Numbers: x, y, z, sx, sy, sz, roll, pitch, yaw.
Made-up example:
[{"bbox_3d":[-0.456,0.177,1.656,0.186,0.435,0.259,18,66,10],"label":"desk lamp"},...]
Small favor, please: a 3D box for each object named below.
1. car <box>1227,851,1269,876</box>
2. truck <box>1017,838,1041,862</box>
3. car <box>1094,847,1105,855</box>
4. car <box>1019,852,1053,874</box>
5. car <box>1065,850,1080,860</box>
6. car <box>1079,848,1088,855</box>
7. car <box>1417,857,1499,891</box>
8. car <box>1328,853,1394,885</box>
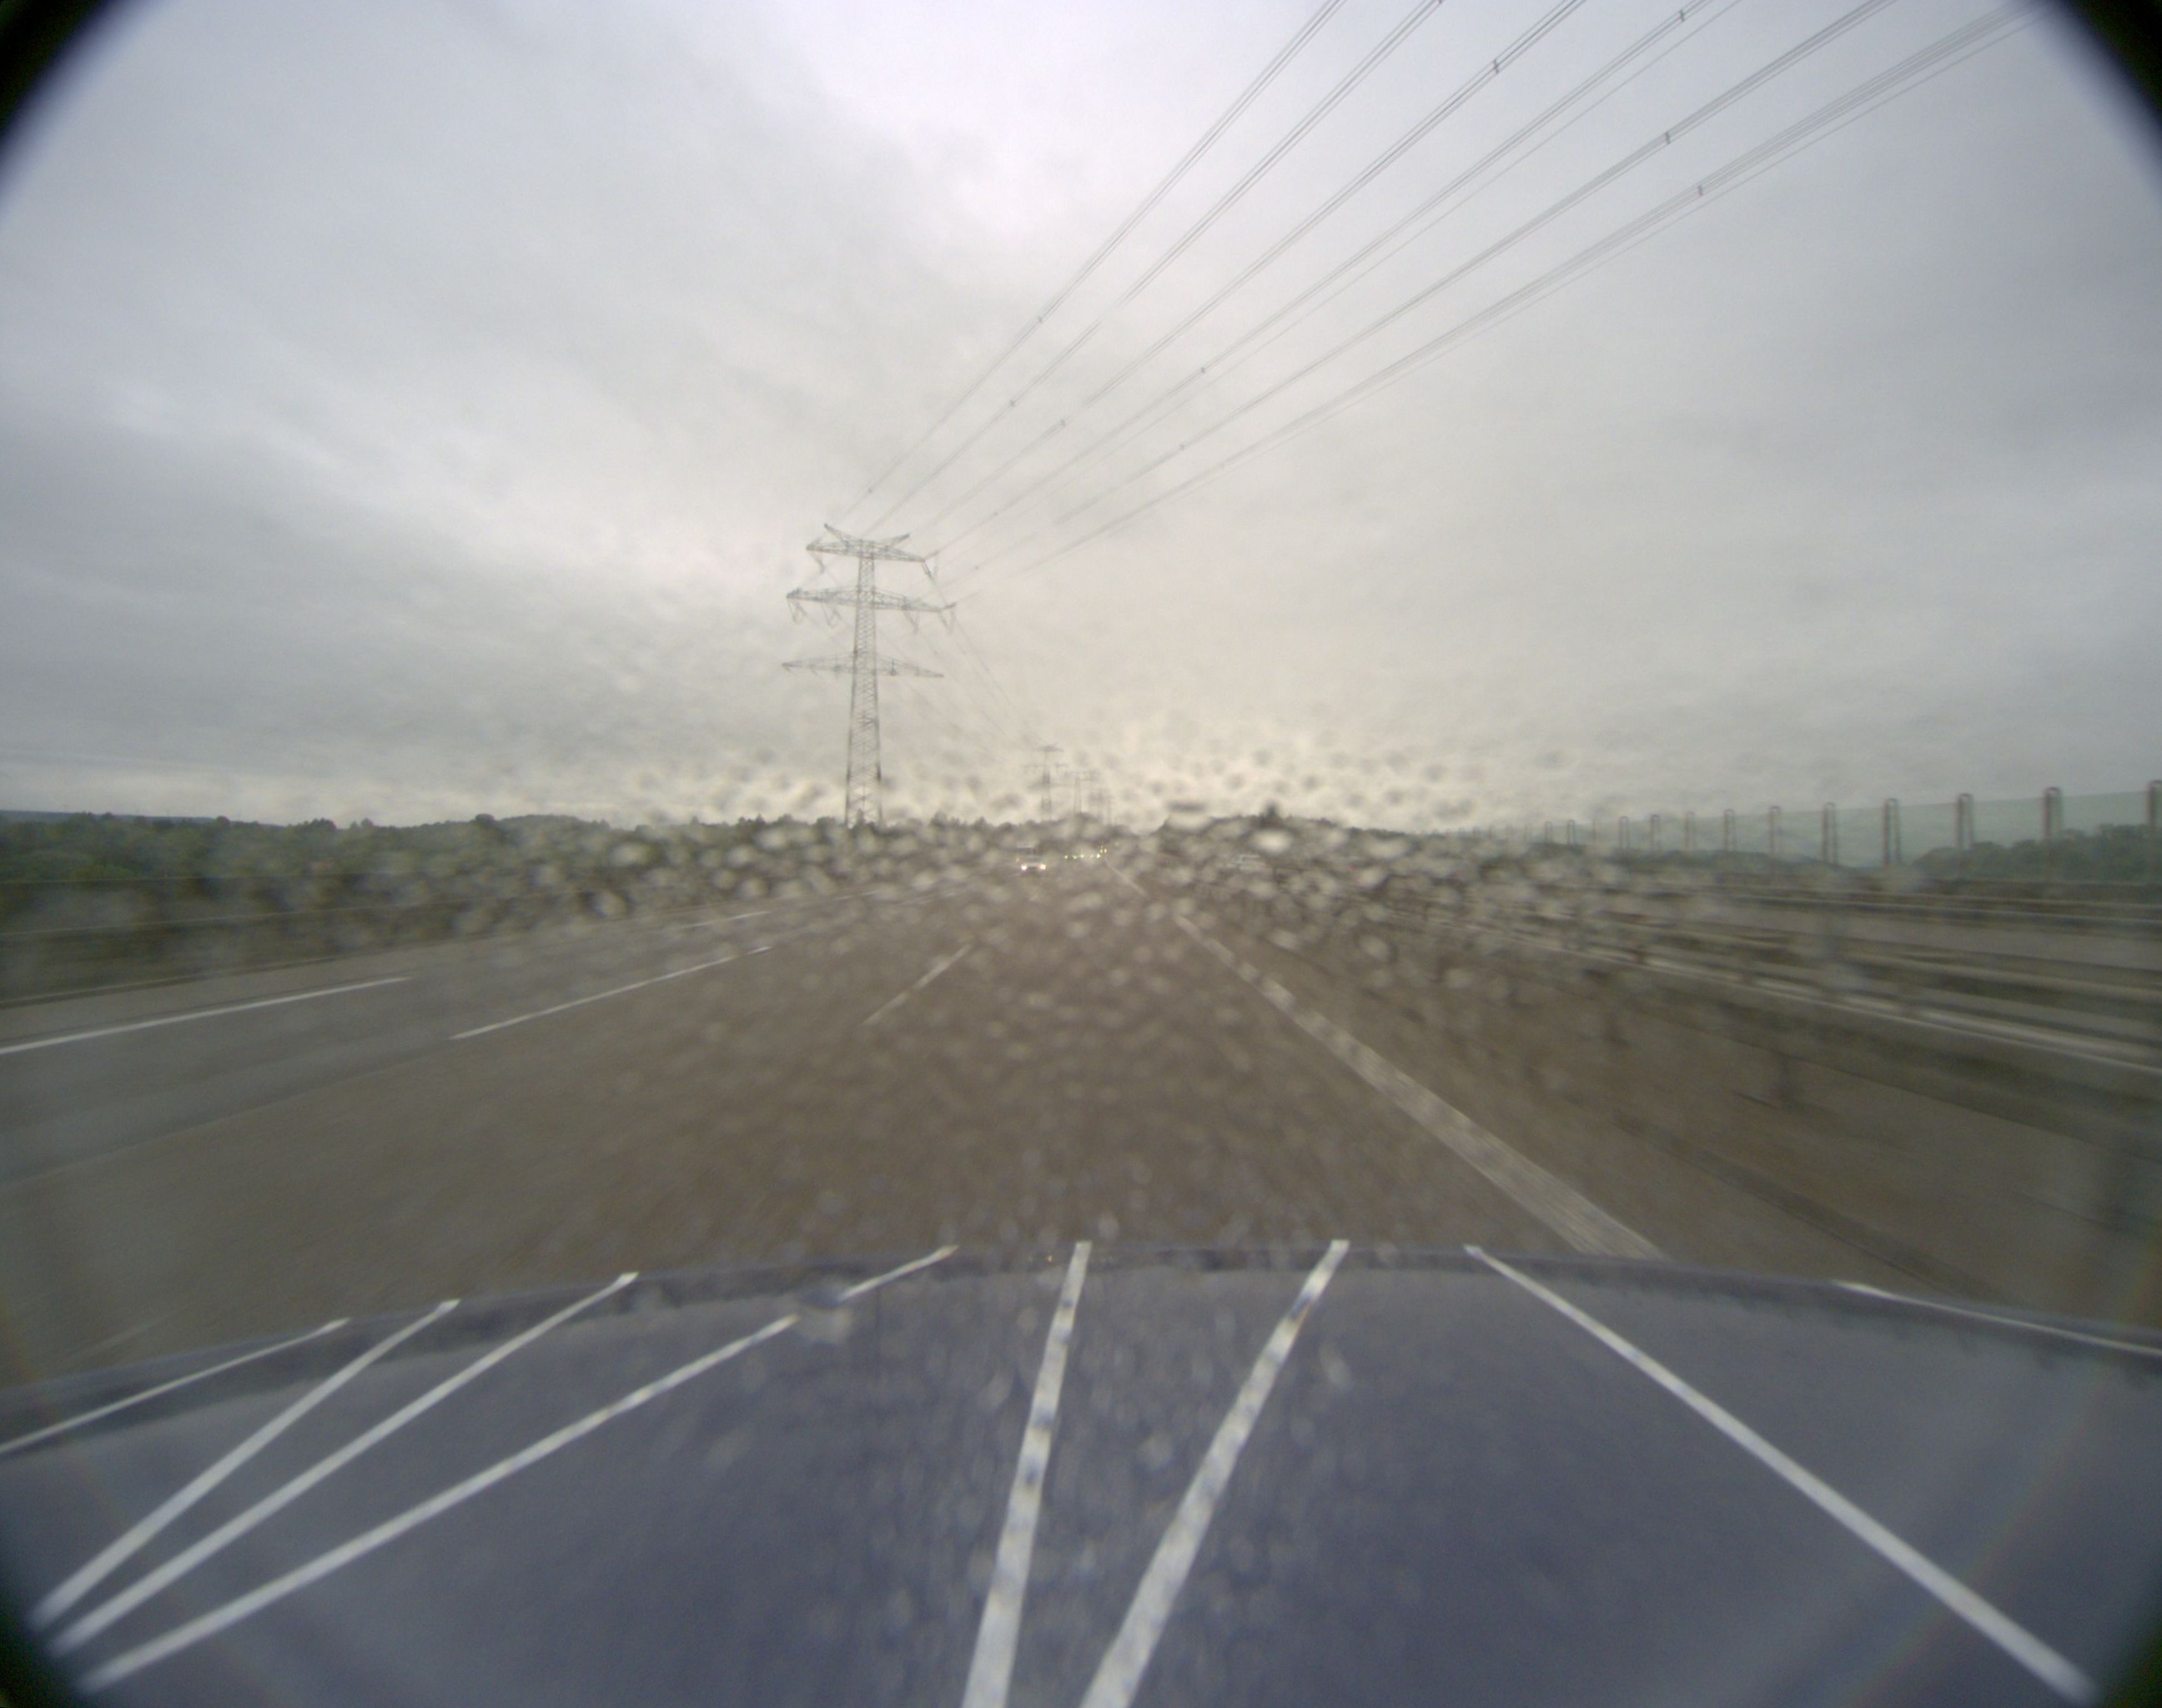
[{"bbox_3d":[9.947,0.538,45.479,1.660,1.428,4.089,1,1,1],"label":"car"},{"bbox_3d":[-7.396,-0.640,109.661,2.649,3.325,6.931,-1,1,2],"label":"truck"},{"bbox_3d":[3.654,-0.602,146.337,1.998,1.418,4.000,-1,1,2],"label":"car"},{"bbox_3d":[-3.153,0.606,54.218,1.998,1.418,4.000,-1,1,2],"label":"car"},{"bbox_3d":[-1.292,0.138,117.785,1.998,1.418,4.000,-1,1,2],"label":"car"},{"bbox_3d":[0.540,-0.468,160.806,1.856,1.418,4.000,-1,1,2],"label":"car"},{"bbox_3d":[17.333,0.890,35.160,1.820,1.380,4.089,1,1,1],"label":"car"},{"bbox_3d":[13.860,0.716,37.896,1.820,1.428,4.089,1,1,1],"label":"car"}]
